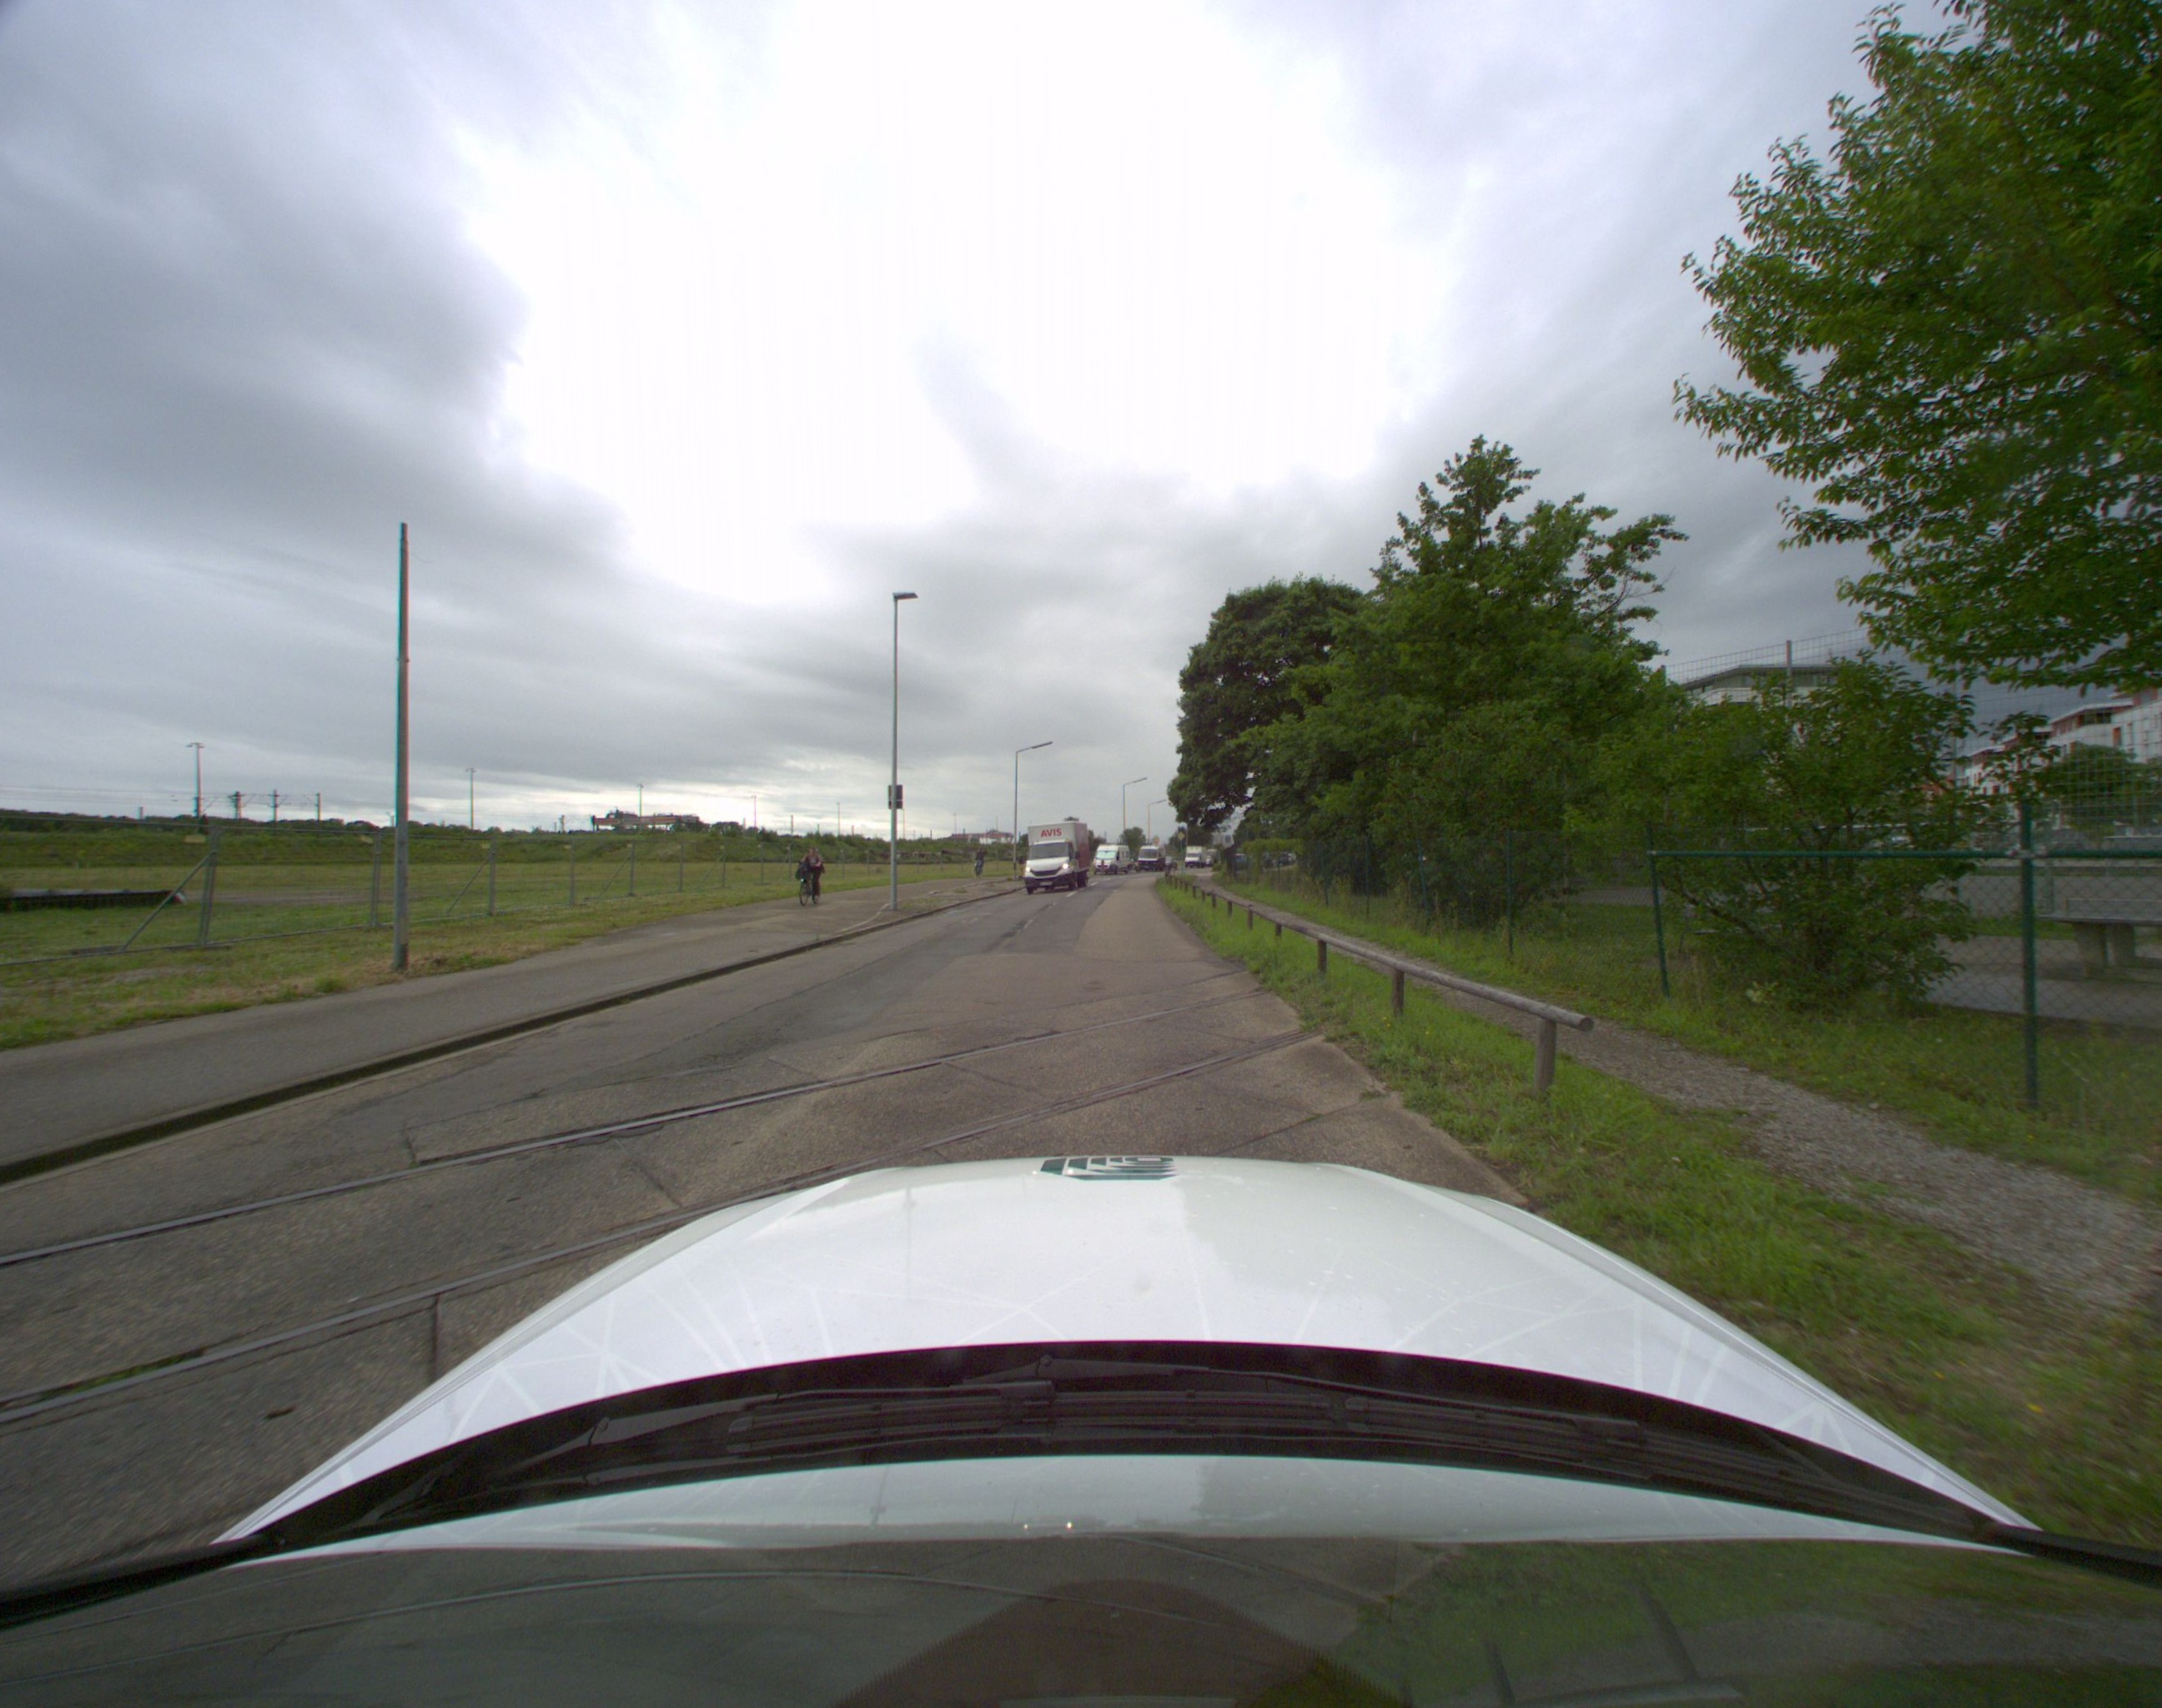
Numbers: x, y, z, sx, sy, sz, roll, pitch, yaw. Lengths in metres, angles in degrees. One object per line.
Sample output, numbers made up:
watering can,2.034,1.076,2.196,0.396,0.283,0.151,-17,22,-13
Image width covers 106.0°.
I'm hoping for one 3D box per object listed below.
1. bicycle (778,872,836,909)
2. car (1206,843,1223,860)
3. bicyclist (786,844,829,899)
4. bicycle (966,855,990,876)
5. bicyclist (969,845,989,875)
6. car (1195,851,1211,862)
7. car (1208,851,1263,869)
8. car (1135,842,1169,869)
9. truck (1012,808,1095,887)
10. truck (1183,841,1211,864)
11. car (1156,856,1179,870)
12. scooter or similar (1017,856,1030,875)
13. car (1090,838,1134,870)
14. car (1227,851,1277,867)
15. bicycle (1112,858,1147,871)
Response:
bicycle,-7.846,1.037,23.425,0.800,0.907,2.234,-1,1,2
car,21.216,-0.358,129.470,1.989,2.574,4.808,-1,1,17
bicyclist,-7.852,0.483,23.432,0.779,1.526,1.094,-1,1,2
bicycle,-6.350,0.716,50.384,0.814,1.204,2.564,-1,1,9
bicyclist,-6.343,0.357,50.463,0.822,1.821,1.334,-1,1,10
car,18.135,0.329,121.282,1.741,1.525,4.018,-1,1,17
car,14.469,0.580,76.125,4.823,1.616,1.851,-1,1,16
car,7.567,0.098,86.239,2.282,2.734,6.120,-1,1,17
truck,-1.059,-0.315,36.729,2.328,3.062,7.513,-4,0,8
truck,16.110,-0.243,112.719,2.443,3.060,8.199,-1,1,17
car,9.952,1.001,93.128,1.765,1.504,4.019,-1,1,18
scooter or similar,-3.779,0.762,53.412,0.606,1.182,1.703,1,0,3
car,2.747,-0.034,70.225,2.272,2.555,6.437,-1,1,15
car,17.518,0.515,83.245,4.823,1.500,1.851,-1,1,16
bicycle,4.632,1.013,78.027,3.096,1.199,1.371,-1,1,16
